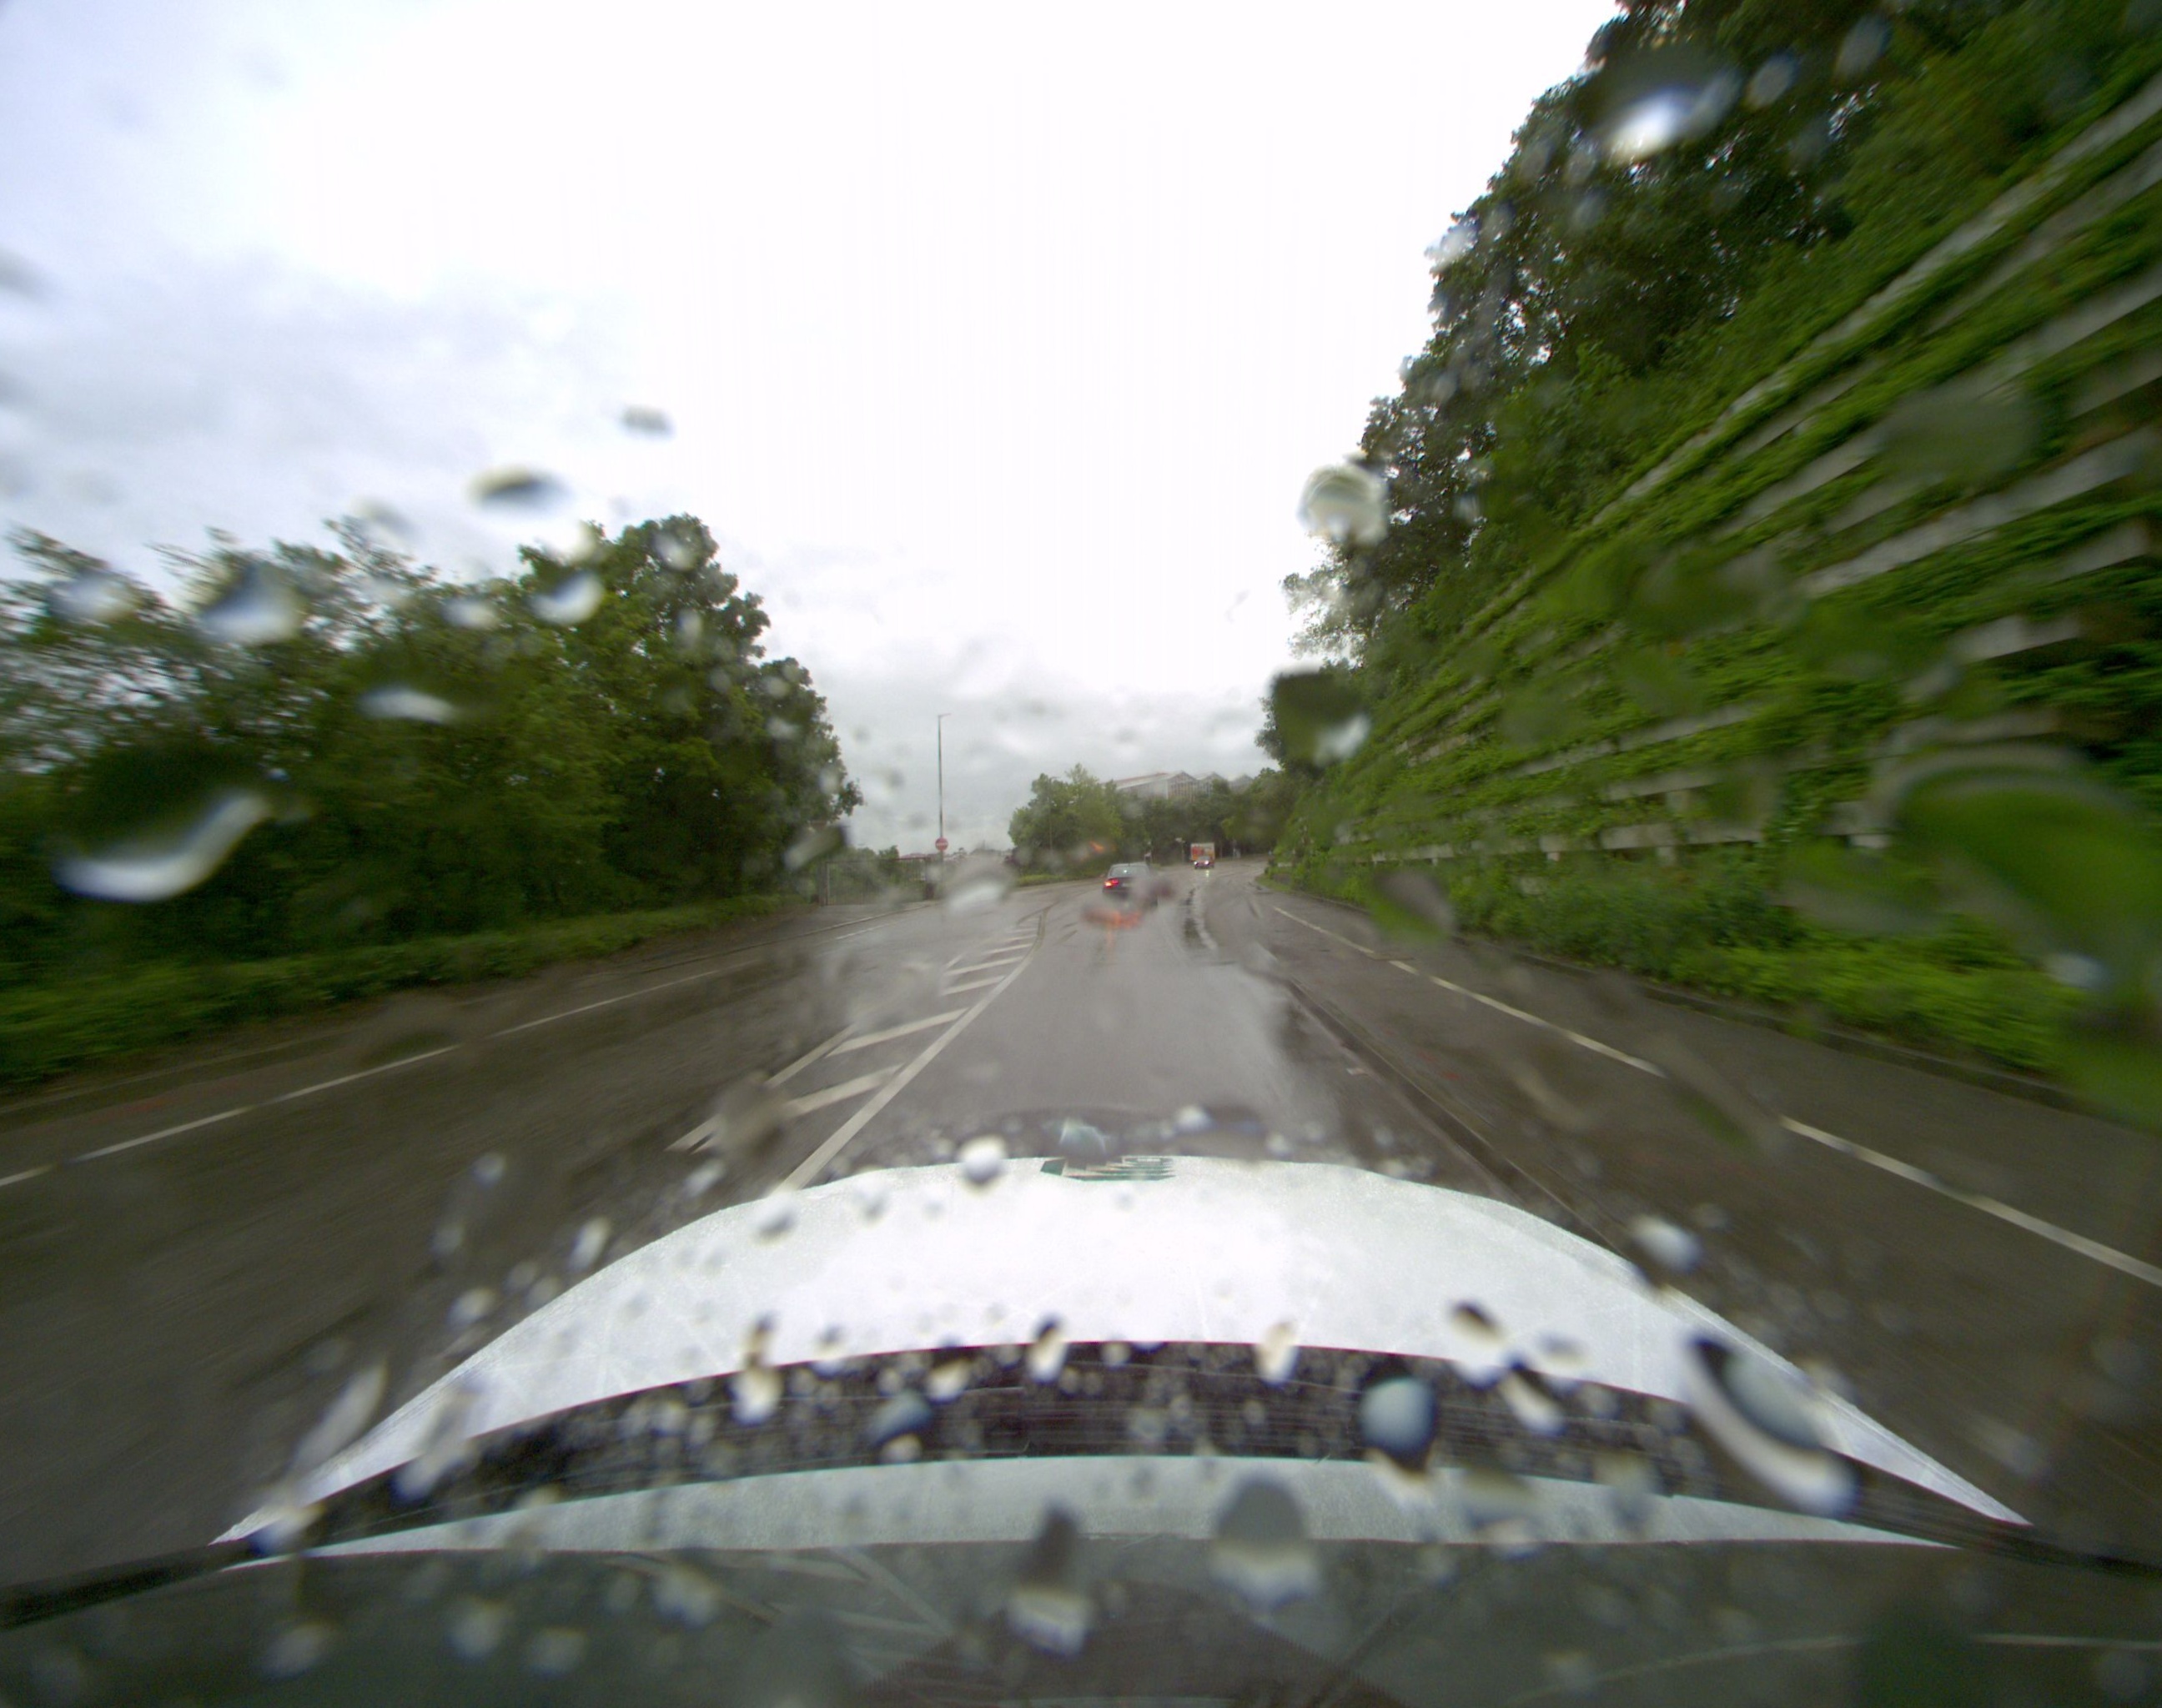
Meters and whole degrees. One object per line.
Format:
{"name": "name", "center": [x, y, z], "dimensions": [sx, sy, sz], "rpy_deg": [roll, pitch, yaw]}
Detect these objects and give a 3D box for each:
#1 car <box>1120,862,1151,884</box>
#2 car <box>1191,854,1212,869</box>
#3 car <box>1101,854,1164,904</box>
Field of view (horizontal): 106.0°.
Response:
{"name": "car", "center": [4.932, 1.676, 73.074], "dimensions": [1.979, 1.741, 4.017], "rpy_deg": [-2, 0, 15]}
{"name": "car", "center": [14.872, 0.904, 100.639], "dimensions": [1.978, 1.741, 4.018], "rpy_deg": [-2, 0, 17]}
{"name": "car", "center": [1.797, 0.772, 27.320], "dimensions": [1.883, 1.492, 4.215], "rpy_deg": [0, 0, 6]}
